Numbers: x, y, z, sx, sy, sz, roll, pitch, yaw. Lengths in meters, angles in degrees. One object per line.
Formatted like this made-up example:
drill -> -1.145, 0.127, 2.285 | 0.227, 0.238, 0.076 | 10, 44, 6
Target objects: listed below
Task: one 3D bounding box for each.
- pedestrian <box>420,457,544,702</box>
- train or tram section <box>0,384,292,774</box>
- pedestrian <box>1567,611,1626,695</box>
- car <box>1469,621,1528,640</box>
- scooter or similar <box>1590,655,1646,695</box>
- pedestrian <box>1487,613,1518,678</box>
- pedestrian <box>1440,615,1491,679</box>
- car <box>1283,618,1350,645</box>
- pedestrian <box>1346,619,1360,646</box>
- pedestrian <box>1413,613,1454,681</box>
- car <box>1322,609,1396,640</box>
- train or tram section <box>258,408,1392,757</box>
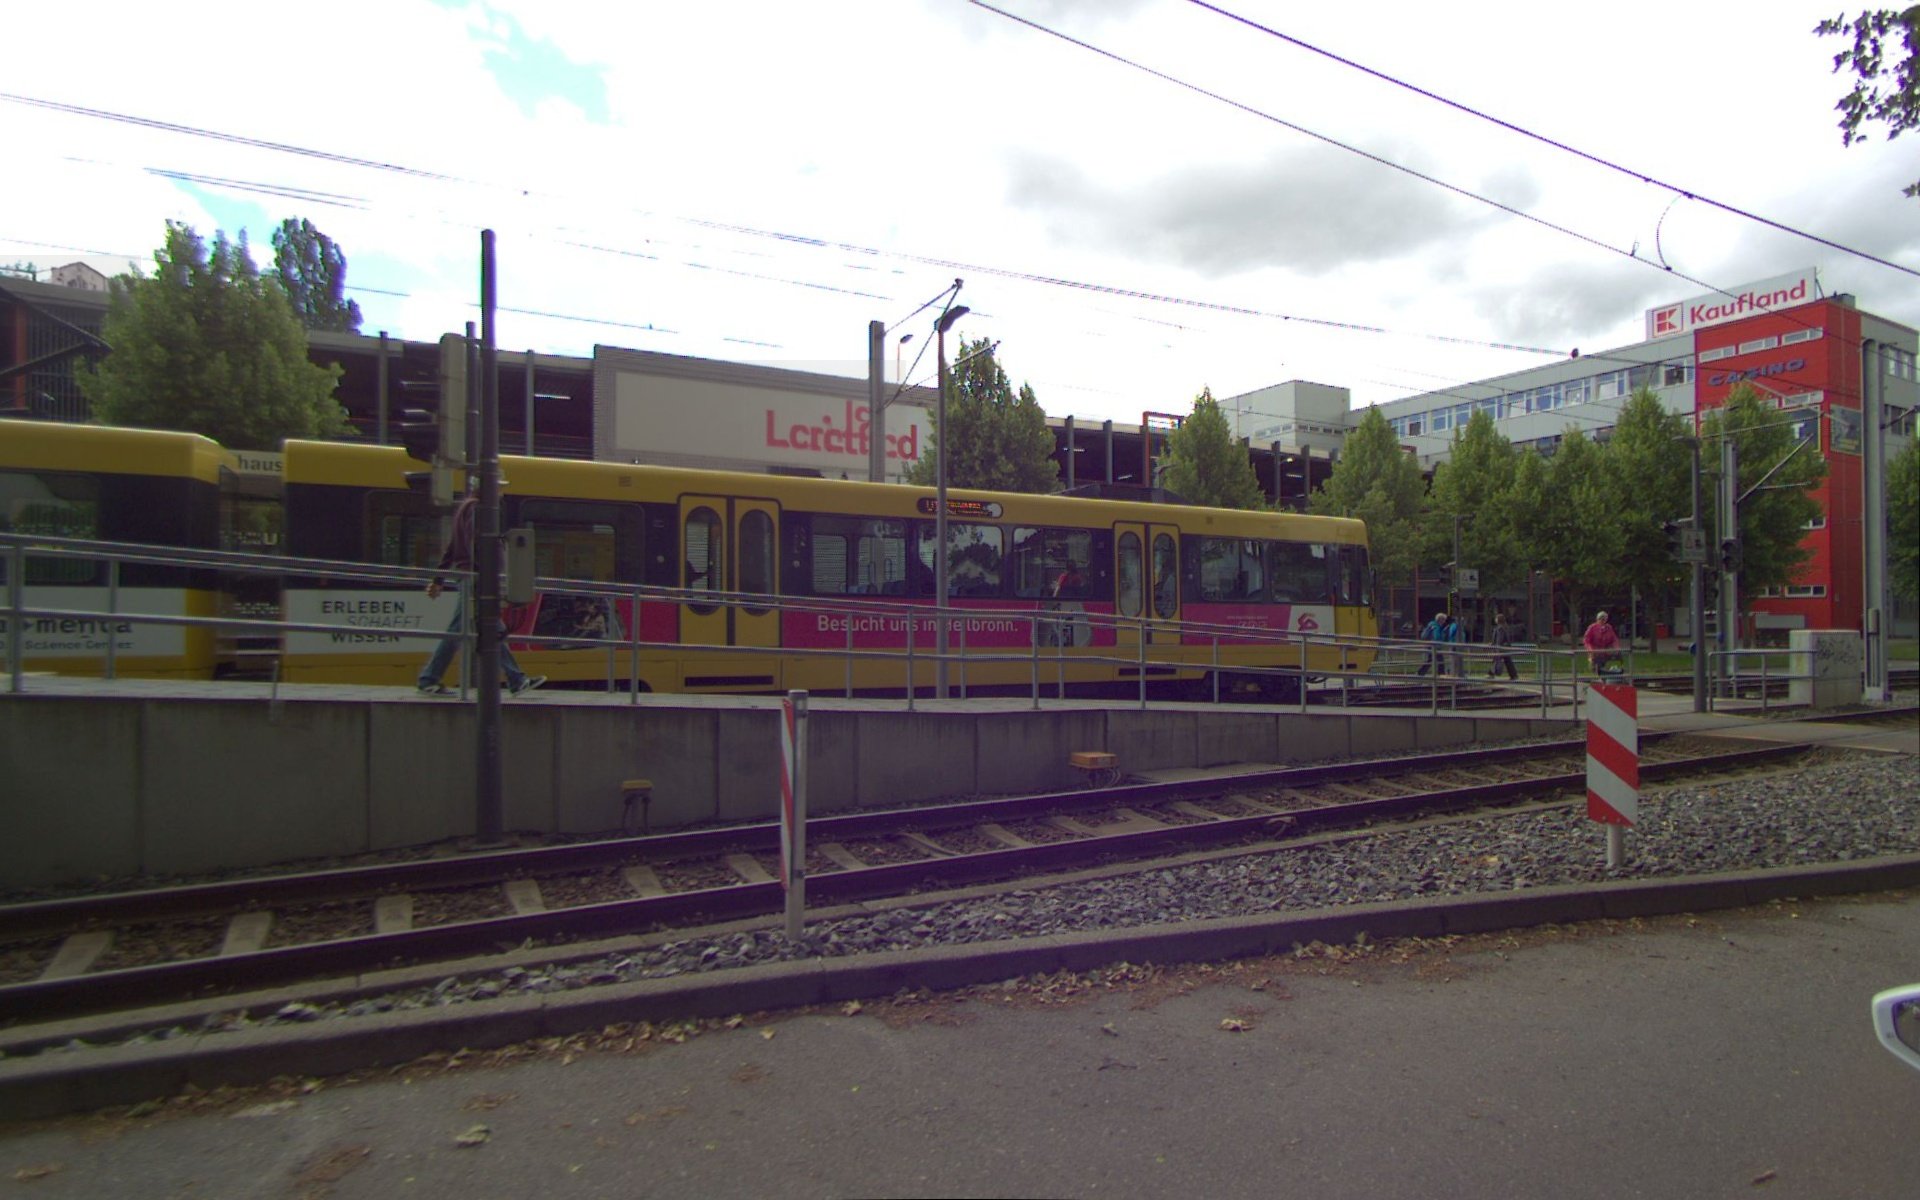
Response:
pedestrian -> -3.569, -0.121, 7.484 | 0.781, 1.700, 0.768 | 1, -3, -29
train or tram section -> -16.541, -0.270, 8.021 | 18.396, 3.934, 2.746 | 1, -2, -28
pedestrian -> 13.091, 1.085, 20.668 | 0.781, 1.675, 0.614 | 0, -2, -8
car -> 36.286, 2.067, 67.638 | 4.397, 1.243, 1.448 | 1, -1, -30
scooter or similar -> 13.161, 1.500, 20.094 | 0.784, 0.778, 0.497 | 0, -2, -8
pedestrian -> 14.171, 1.188, 26.245 | 0.458, 1.684, 0.516 | 0, -2, -18
pedestrian -> 13.052, 1.205, 25.938 | 0.926, 1.632, 0.712 | 0, -2, -18
car -> 20.287, 1.784, 57.181 | 3.631, 1.495, 1.666 | 1, -1, -30
pedestrian -> 22.297, 1.830, 57.001 | 0.606, 1.526, 0.419 | 0, 0, -29
pedestrian -> 12.336, 1.219, 26.189 | 0.645, 1.721, 0.728 | 1, 1, -7
car -> 25.203, 1.552, 63.380 | 4.810, 1.913, 1.666 | 1, -2, -30
train or tram section -> -0.263, -0.046, 16.694 | 18.395, 3.879, 2.746 | 1, -2, -28
